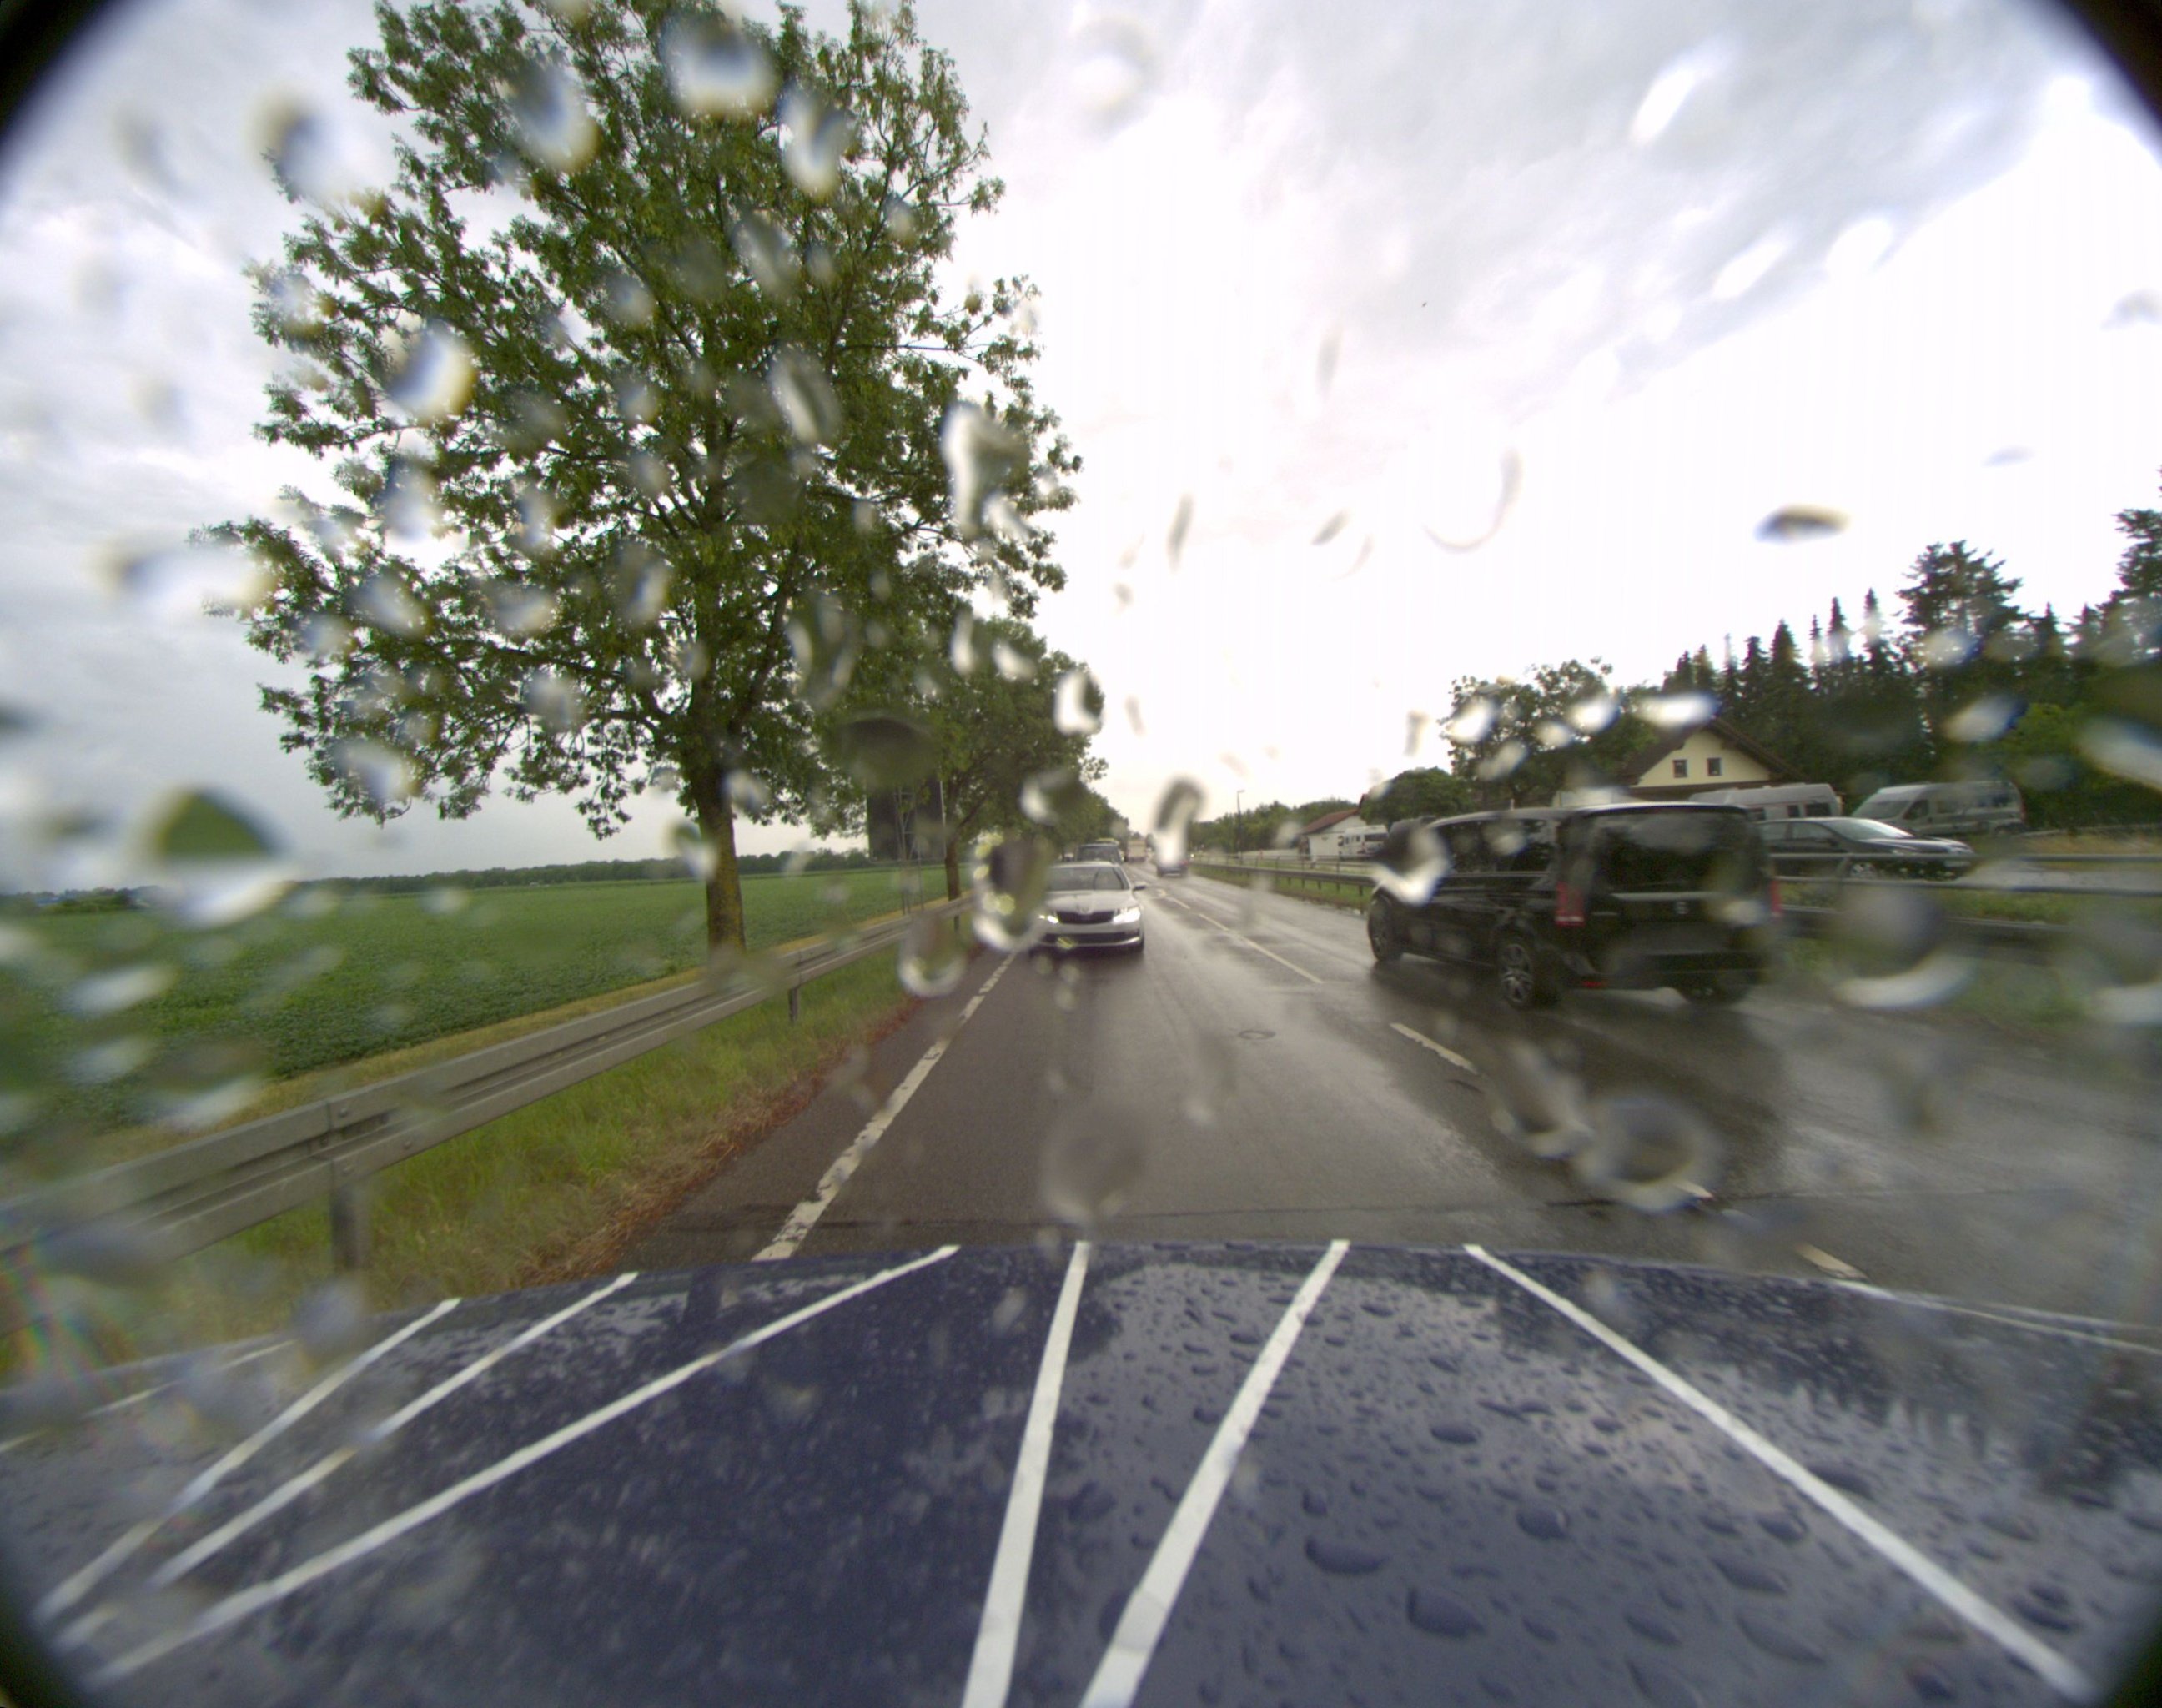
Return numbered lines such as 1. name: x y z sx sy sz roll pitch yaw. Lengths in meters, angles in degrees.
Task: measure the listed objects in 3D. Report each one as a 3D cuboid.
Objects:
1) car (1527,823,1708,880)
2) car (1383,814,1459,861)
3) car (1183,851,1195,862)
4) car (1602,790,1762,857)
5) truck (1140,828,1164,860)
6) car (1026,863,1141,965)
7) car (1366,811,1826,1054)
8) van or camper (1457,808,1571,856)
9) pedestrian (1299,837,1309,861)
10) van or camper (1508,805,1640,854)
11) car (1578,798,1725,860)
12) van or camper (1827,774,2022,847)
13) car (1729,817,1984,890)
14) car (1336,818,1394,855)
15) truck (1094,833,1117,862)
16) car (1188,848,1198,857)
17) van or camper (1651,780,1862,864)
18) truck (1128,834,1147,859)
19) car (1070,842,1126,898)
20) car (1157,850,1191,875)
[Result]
1. car: 15.746 -0.060 22.721 1.519 1.482 5.120 -1 0 -4
2. car: 21.983 -1.043 49.442 2.389 2.747 5.573 -3 0 1
3. car: 20.501 0.388 143.979 1.683 2.002 3.999 -2 1 1
4. car: 25.173 -1.253 31.956 5.105 2.445 2.000 -3 0 -1
5. truck: 11.989 -1.686 128.906 3.256 5.004 7.783 -3 0 1
6. car: 0.066 0.926 13.329 1.705 1.438 4.000 -1 0 1
7. car: 4.707 0.588 7.929 1.832 1.792 4.414 -1 0 1
8. van or camper: 28.492 -1.415 50.158 6.068 2.785 2.434 -3 0 0
9. pedestrian: 15.880 -0.376 54.198 0.516 1.701 0.650 -3 1 9
10. van or camper: 29.796 -1.439 46.083 6.239 2.576 2.562 -3 0 0
11. car: 26.166 -1.134 34.973 5.196 2.487 2.000 -3 0 -1
12. van or camper: 34.386 -1.731 31.076 5.820 2.575 2.000 -3 0 -2
13. car: 16.142 -0.010 16.120 1.286 1.323 3.897 -1 0 -3
14. car: 21.773 -1.284 58.641 2.242 2.565 6.019 -3 0 1
15. truck: 3.353 -0.833 101.862 2.751 3.547 8.387 -3 0 2
16. car: 26.210 -0.427 177.689 1.710 2.002 3.711 -3 0 1
17. van or camper: 24.938 -1.147 28.197 5.890 2.662 2.081 -3 0 0
18. truck: 8.317 -1.043 111.208 2.582 3.432 9.558 -1 0 4
19. car: 0.608 0.552 28.344 1.903 1.884 4.000 -1 0 1
20. car: 5.924 0.517 49.011 1.718 1.442 4.111 -2 0 1
